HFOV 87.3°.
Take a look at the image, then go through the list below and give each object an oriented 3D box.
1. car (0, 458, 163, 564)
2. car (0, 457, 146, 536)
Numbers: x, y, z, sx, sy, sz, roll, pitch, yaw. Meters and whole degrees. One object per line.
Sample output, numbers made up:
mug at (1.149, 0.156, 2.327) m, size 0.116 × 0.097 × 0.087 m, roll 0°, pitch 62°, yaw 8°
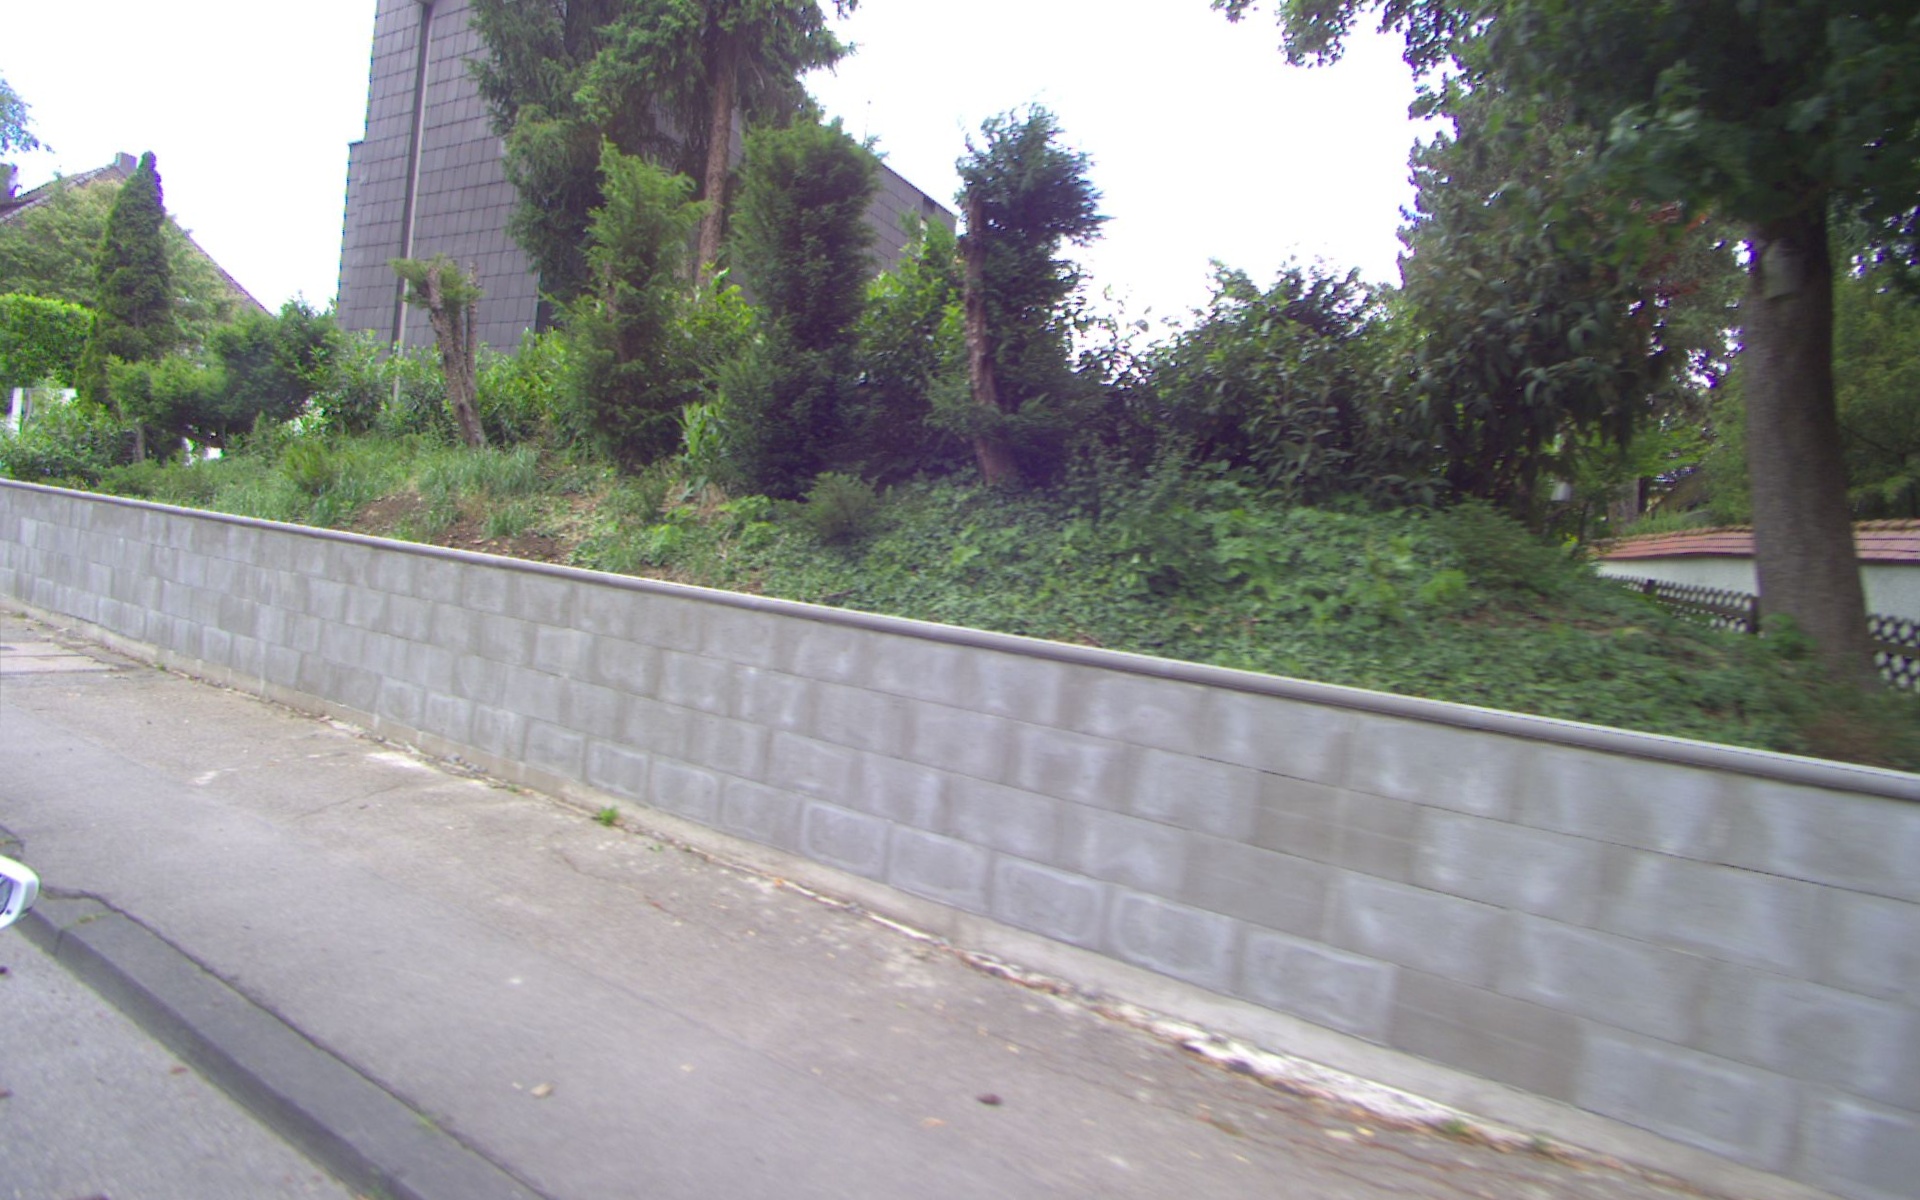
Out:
car at (-17.512, -1.728, 18.232) m, size 1.800 × 1.673 × 4.395 m, roll 8°, pitch 1°, yaw 33°
car at (-26.621, -3.061, 29.283) m, size 1.936 × 1.732 × 3.994 m, roll 7°, pitch 0°, yaw 29°
